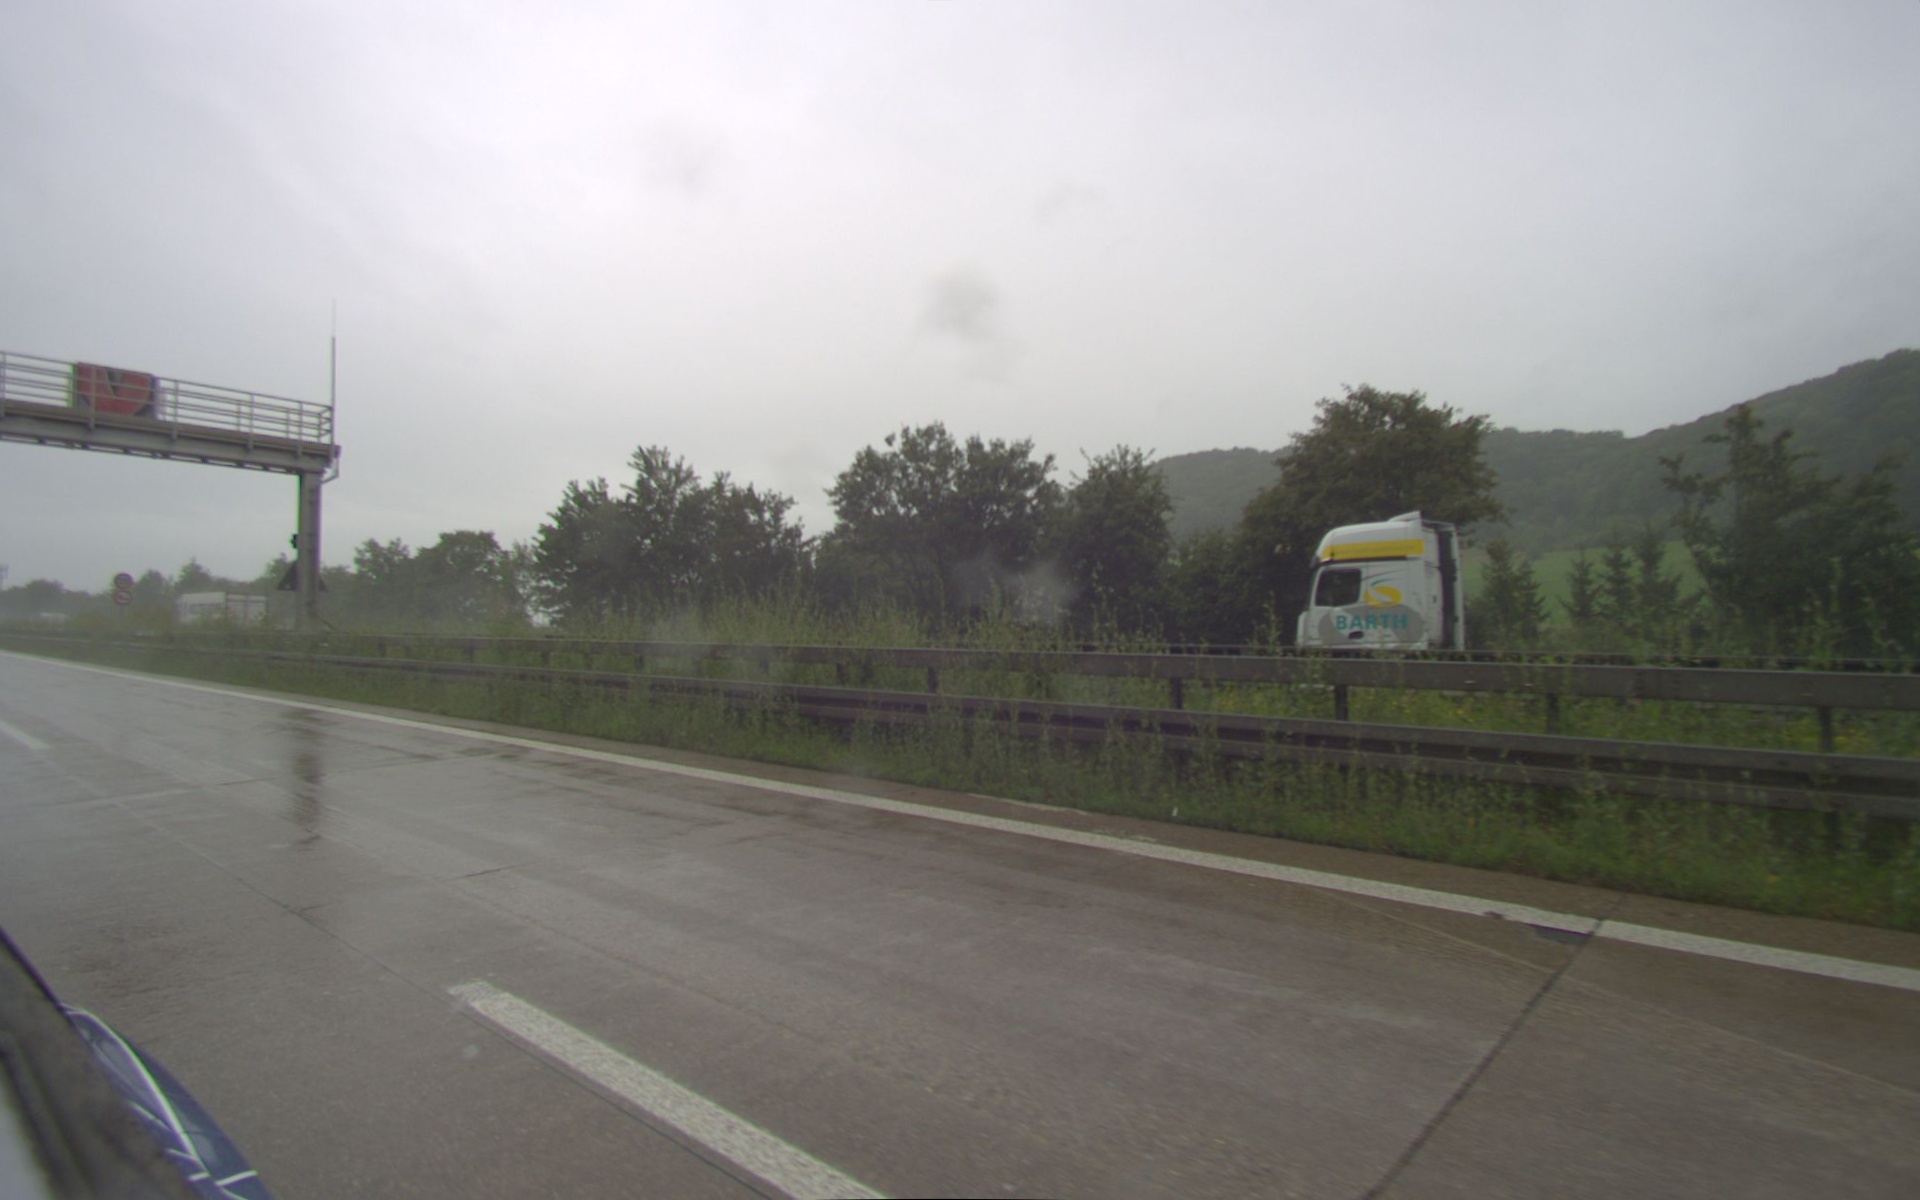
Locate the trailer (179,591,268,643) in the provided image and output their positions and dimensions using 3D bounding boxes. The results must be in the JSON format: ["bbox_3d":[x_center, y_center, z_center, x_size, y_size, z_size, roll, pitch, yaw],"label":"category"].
[{"bbox_3d":[-56.577,1.338,77.580,12.280,3.702,2.934,-1,-1,42],"label":"trailer"}]

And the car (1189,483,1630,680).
[{"bbox_3d":[8.695,-0.226,20.309,7.597,3.268,2.769,-2,-1,41],"label":"car"}]
